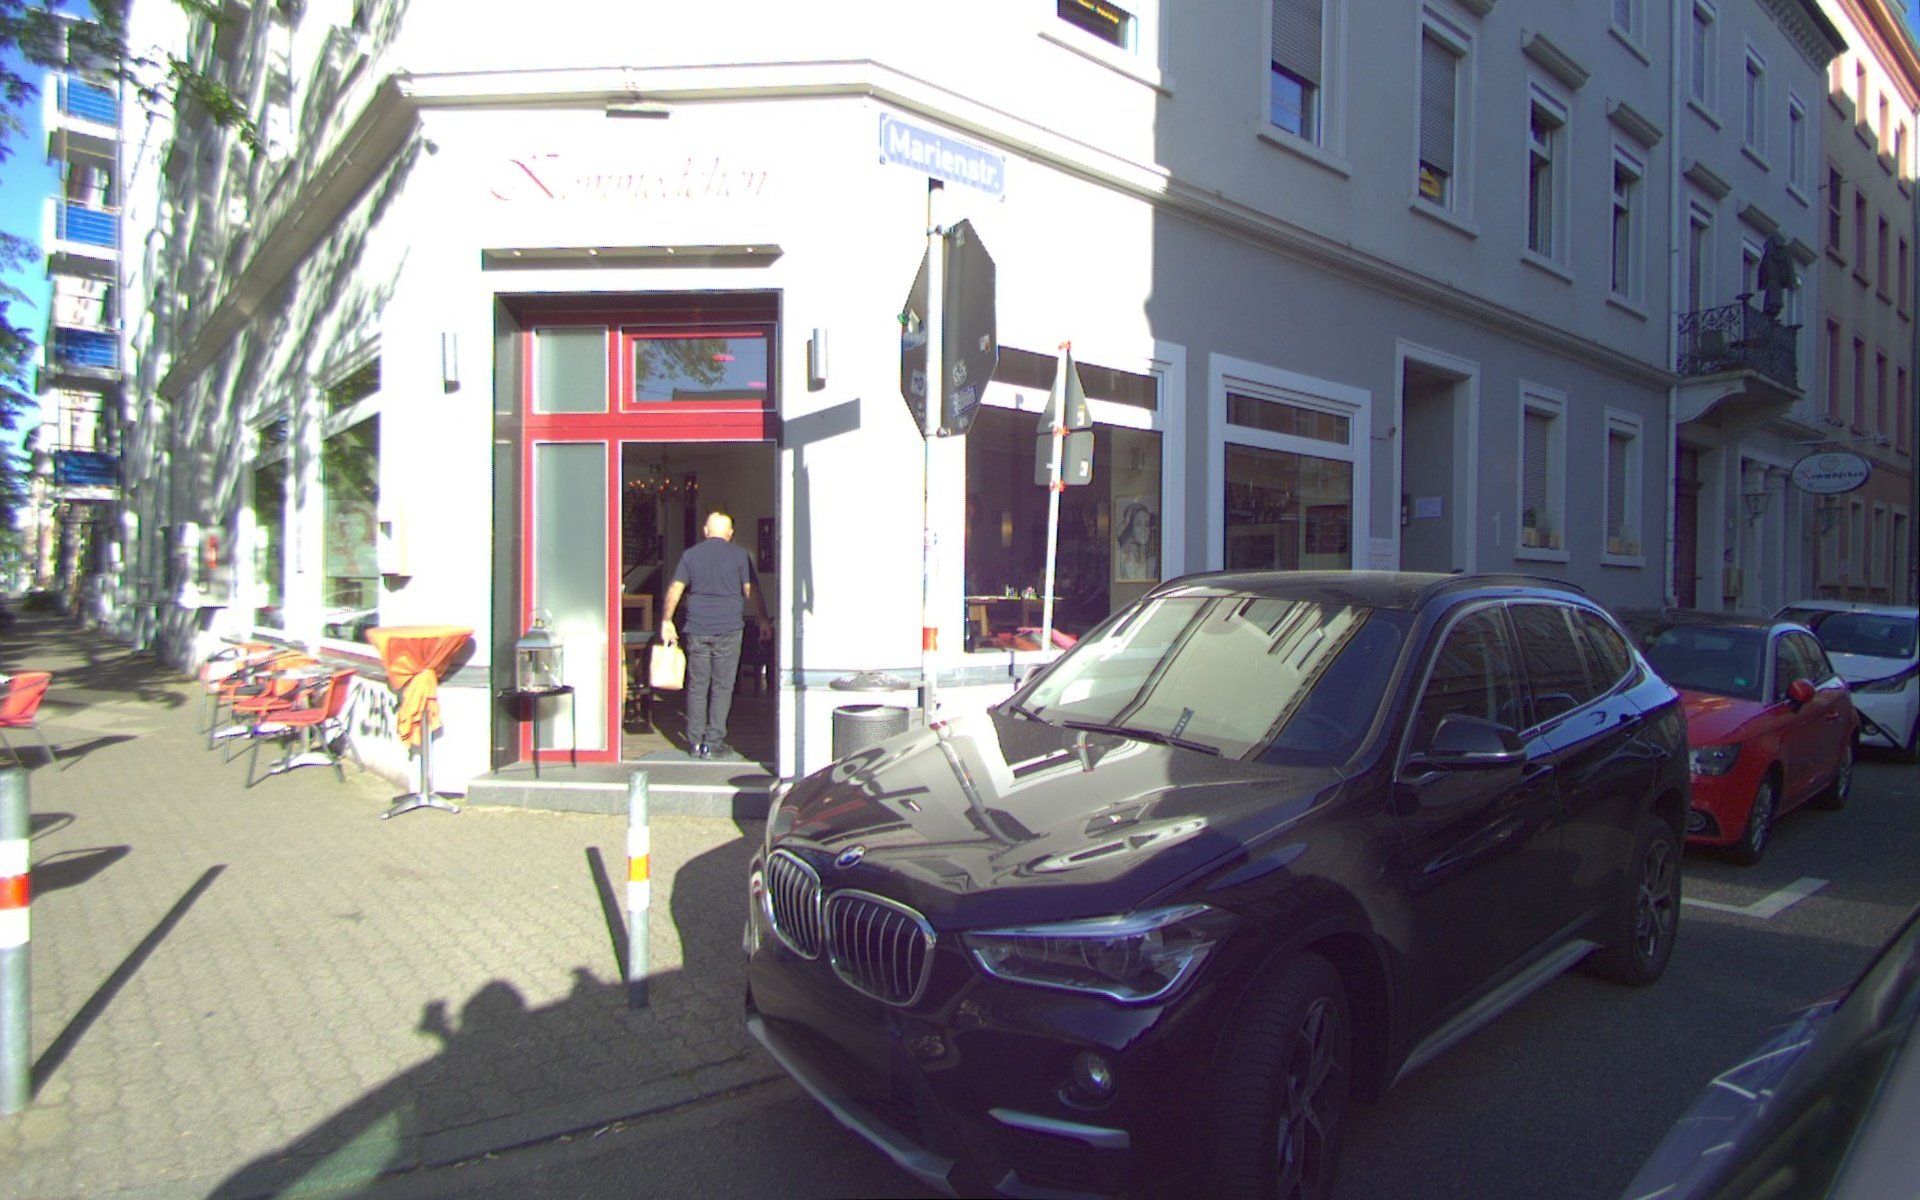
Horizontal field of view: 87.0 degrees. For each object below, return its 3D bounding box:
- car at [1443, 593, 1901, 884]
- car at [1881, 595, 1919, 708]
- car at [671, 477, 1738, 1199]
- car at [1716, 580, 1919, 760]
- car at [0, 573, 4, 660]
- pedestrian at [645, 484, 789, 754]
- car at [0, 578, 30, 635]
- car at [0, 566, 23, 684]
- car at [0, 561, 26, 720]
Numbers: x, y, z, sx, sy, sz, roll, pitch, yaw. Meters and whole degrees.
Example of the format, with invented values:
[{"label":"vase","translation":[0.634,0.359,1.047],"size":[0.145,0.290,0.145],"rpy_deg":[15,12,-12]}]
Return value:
[{"label":"car","translation":[5.178,0.736,7.174],"size":[3.883,1.522,1.649],"rpy_deg":[0,-1,-39]},{"label":"car","translation":[14.900,0.694,14.628],"size":[4.113,1.530,1.683],"rpy_deg":[0,-1,-38]},{"label":"car","translation":[1.231,0.632,3.806],"size":[4.121,1.683,1.764],"rpy_deg":[0,-1,-39]},{"label":"car","translation":[9.585,0.631,10.724],"size":[3.720,1.607,1.640],"rpy_deg":[0,-1,-39]},{"label":"car","translation":[-18.280,0.321,16.171],"size":[1.607,1.506,4.091],"rpy_deg":[2,2,31]},{"label":"pedestrian","translation":[-1.720,0.126,7.297],"size":[0.848,1.822,0.852],"rpy_deg":[1,0,-2]},{"label":"car","translation":[-27.176,0.222,26.400],"size":[1.596,1.506,4.120],"rpy_deg":[1,2,13]},{"label":"car","translation":[-14.340,0.379,12.261],"size":[1.604,1.574,4.099],"rpy_deg":[1,2,26]},{"label":"car","translation":[-10.947,0.449,8.635],"size":[1.601,1.574,4.107],"rpy_deg":[1,2,22]}]
